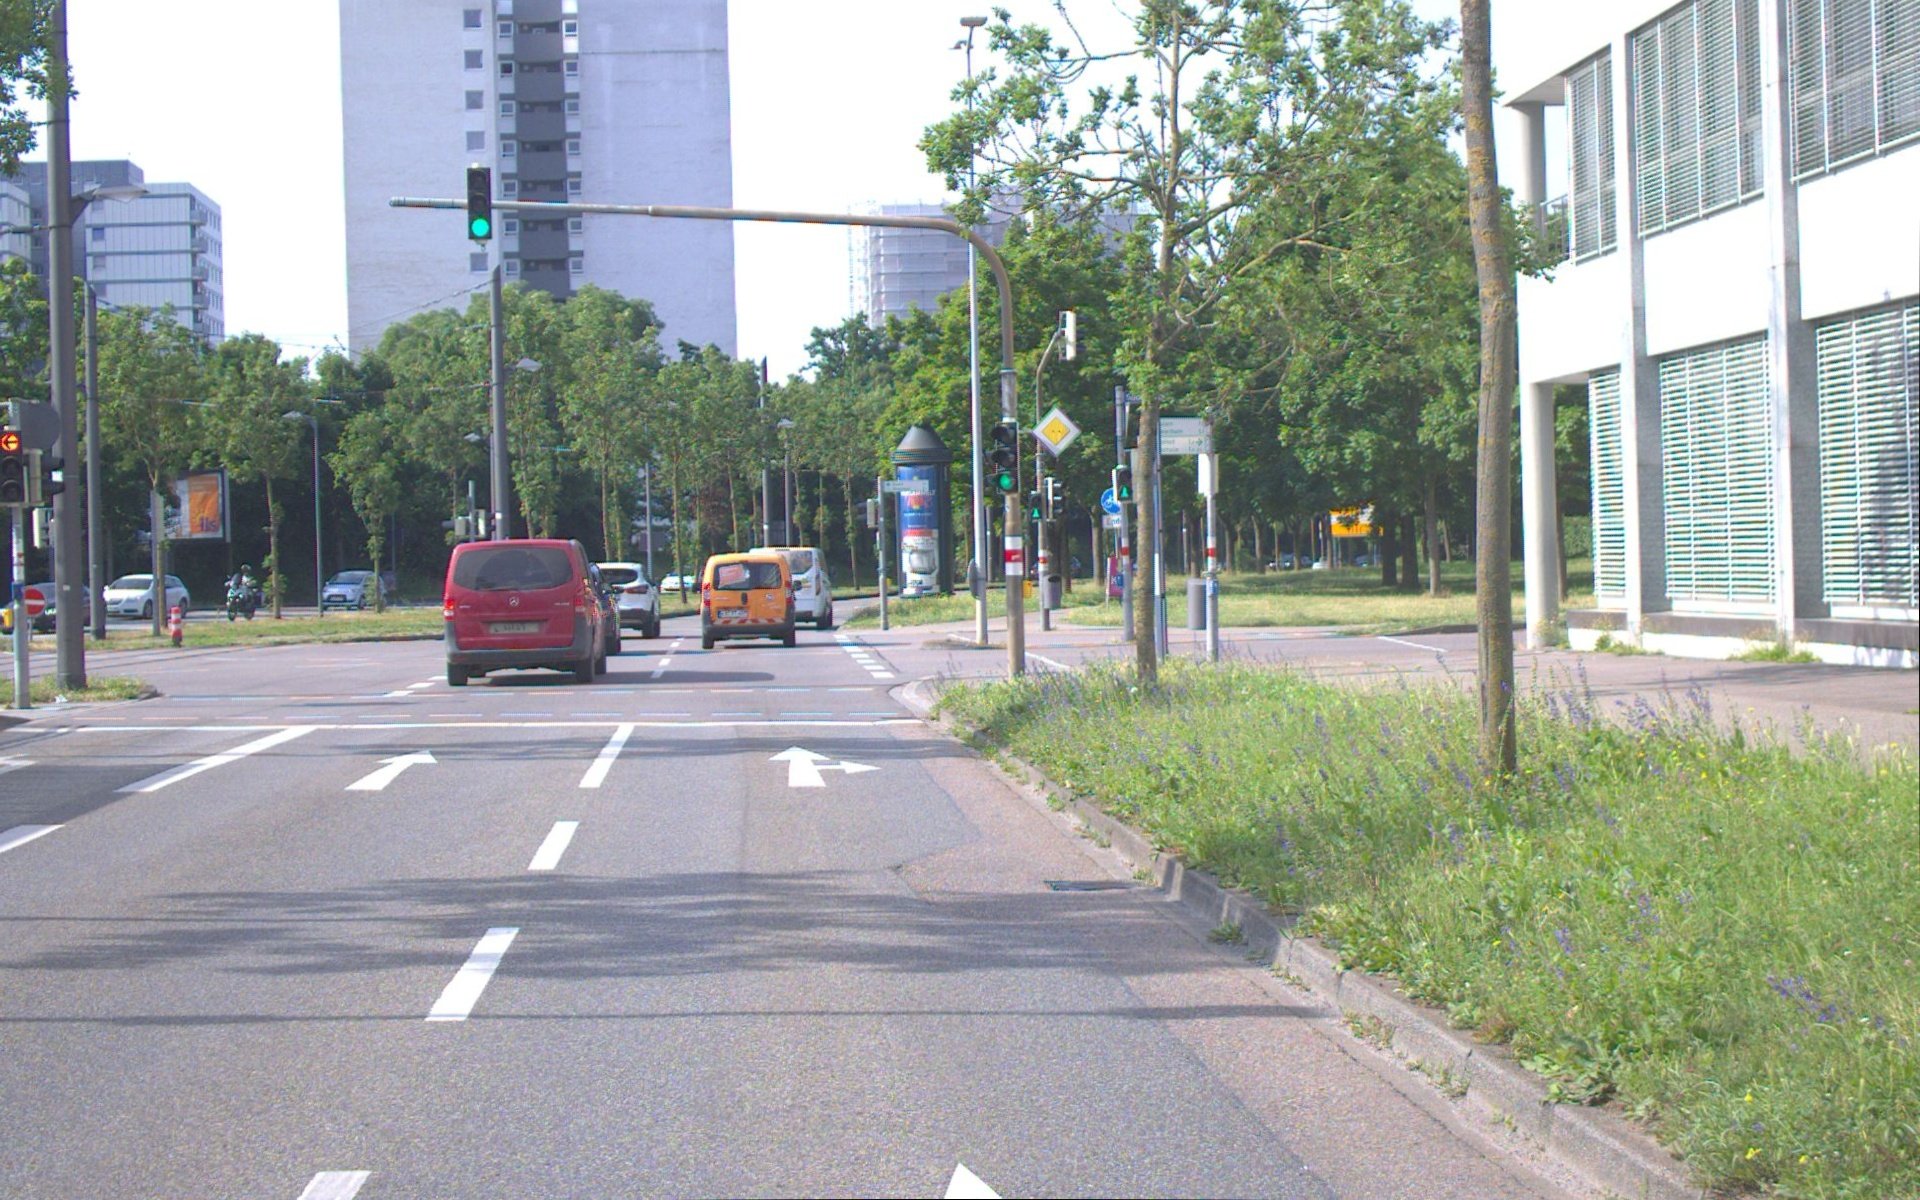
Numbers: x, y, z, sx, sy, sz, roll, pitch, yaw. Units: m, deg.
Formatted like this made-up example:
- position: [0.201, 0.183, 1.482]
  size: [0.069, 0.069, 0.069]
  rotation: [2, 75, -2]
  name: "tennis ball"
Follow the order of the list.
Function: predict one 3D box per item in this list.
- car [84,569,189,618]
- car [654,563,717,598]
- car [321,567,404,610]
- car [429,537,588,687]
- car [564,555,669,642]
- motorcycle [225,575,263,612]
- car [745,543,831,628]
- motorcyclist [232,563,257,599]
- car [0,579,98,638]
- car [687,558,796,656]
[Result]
- position: [-27.277, -0.227, 114.026]
  size: [1.876, 1.568, 4.220]
  rotation: [-1, 1, 9]
  name: "car"
- position: [-12.731, -0.911, 159.699]
  size: [1.876, 1.568, 3.998]
  rotation: [-1, 1, 11]
  name: "car"
- position: [-22.620, -0.457, 130.297]
  size: [1.876, 1.568, 3.999]
  rotation: [-1, 1, 9]
  name: "car"
- position: [-5.896, 0.138, 45.287]
  size: [1.874, 1.847, 4.001]
  rotation: [-1, 1, -5]
  name: "car"
- position: [-7.171, -0.049, 72.040]
  size: [1.993, 1.700, 4.001]
  rotation: [-2, 1, -4]
  name: "car"
- position: [-23.169, -0.205, 111.255]
  size: [0.637, 1.163, 1.643]
  rotation: [-1, 0, 9]
  name: "motorcycle"
- position: [-4.199, -0.354, 83.422]
  size: [1.993, 2.007, 4.001]
  rotation: [0, 0, -4]
  name: "car"
- position: [-23.168, -0.616, 111.290]
  size: [0.620, 1.163, 0.550]
  rotation: [-1, 0, 9]
  name: "motorcyclist"
- position: [-24.998, 0.223, 93.868]
  size: [1.875, 1.568, 4.000]
  rotation: [0, 0, 1]
  name: "car"
- position: [-3.953, 0.108, 62.397]
  size: [1.875, 1.690, 3.974]
  rotation: [-1, 1, -3]
  name: "car"
